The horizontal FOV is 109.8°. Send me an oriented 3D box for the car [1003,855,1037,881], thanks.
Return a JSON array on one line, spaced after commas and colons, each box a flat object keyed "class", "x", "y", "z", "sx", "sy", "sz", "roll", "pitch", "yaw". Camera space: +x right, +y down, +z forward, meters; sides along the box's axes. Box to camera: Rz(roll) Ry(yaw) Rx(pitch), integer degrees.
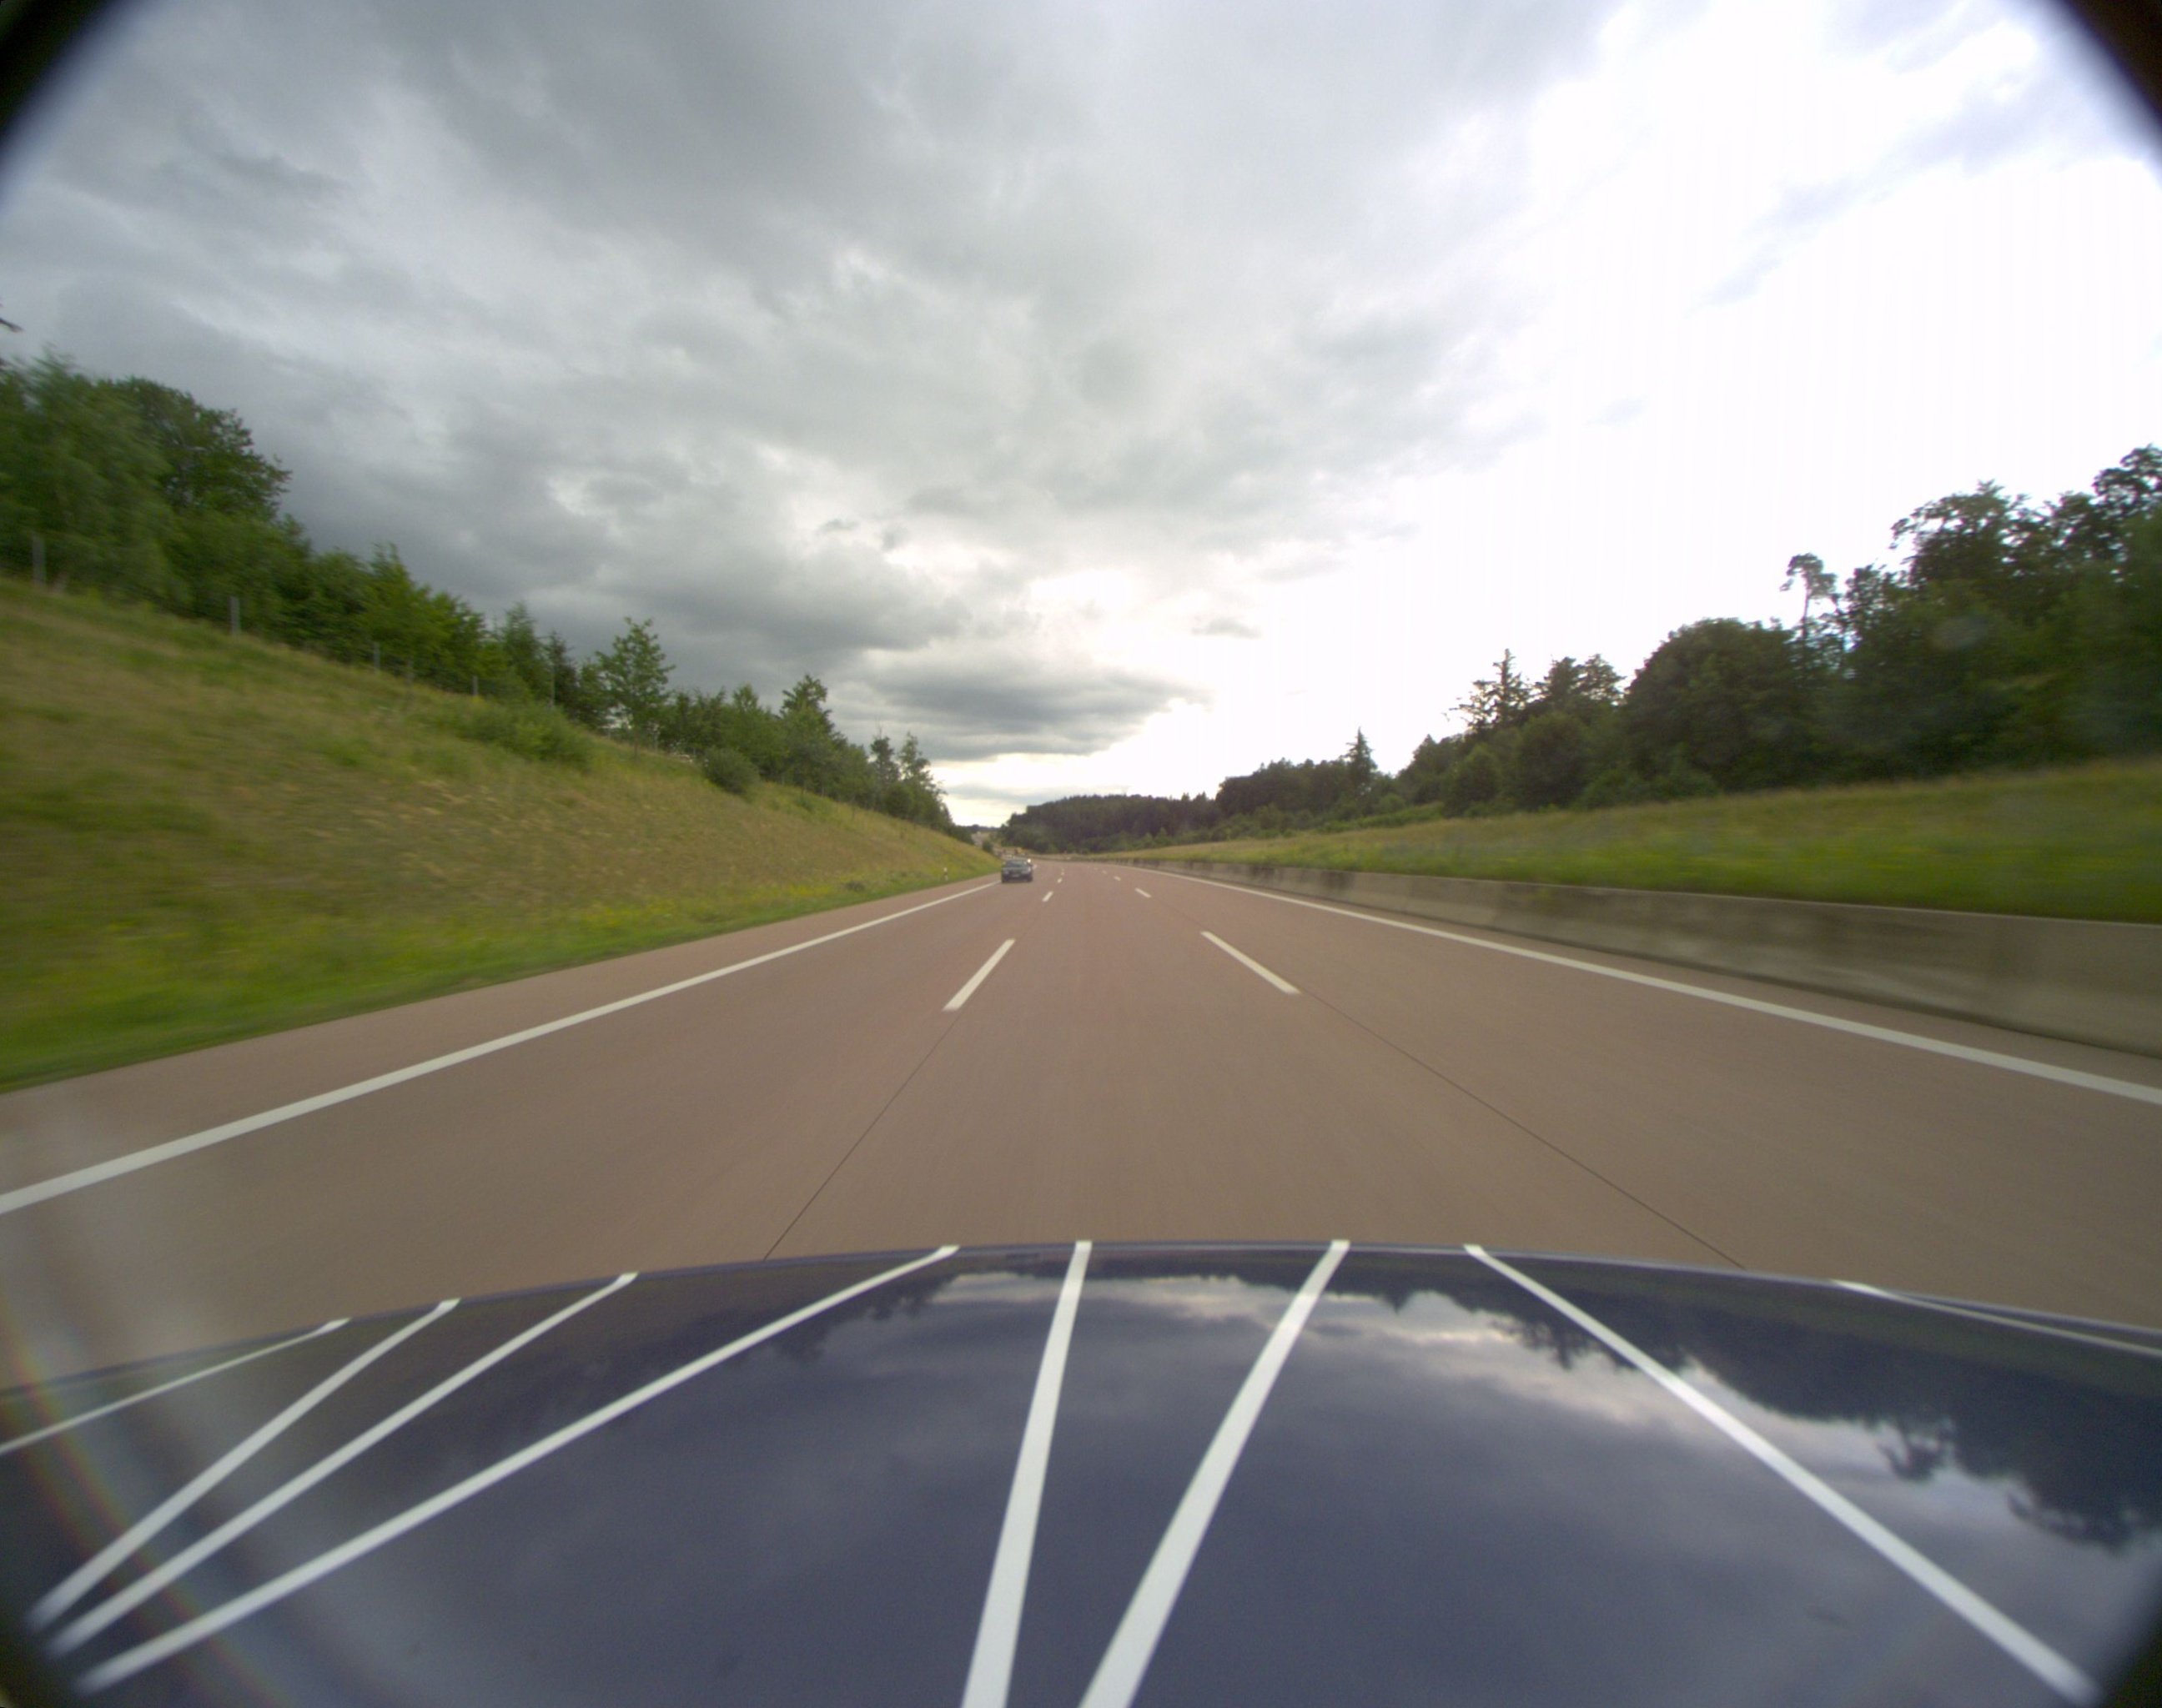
[{"class": "car", "x": -3.643, "y": 0.818, "z": 46.033, "sx": 1.676, "sy": 1.395, "sz": 4.232, "roll": -1, "pitch": 1, "yaw": 0}]
